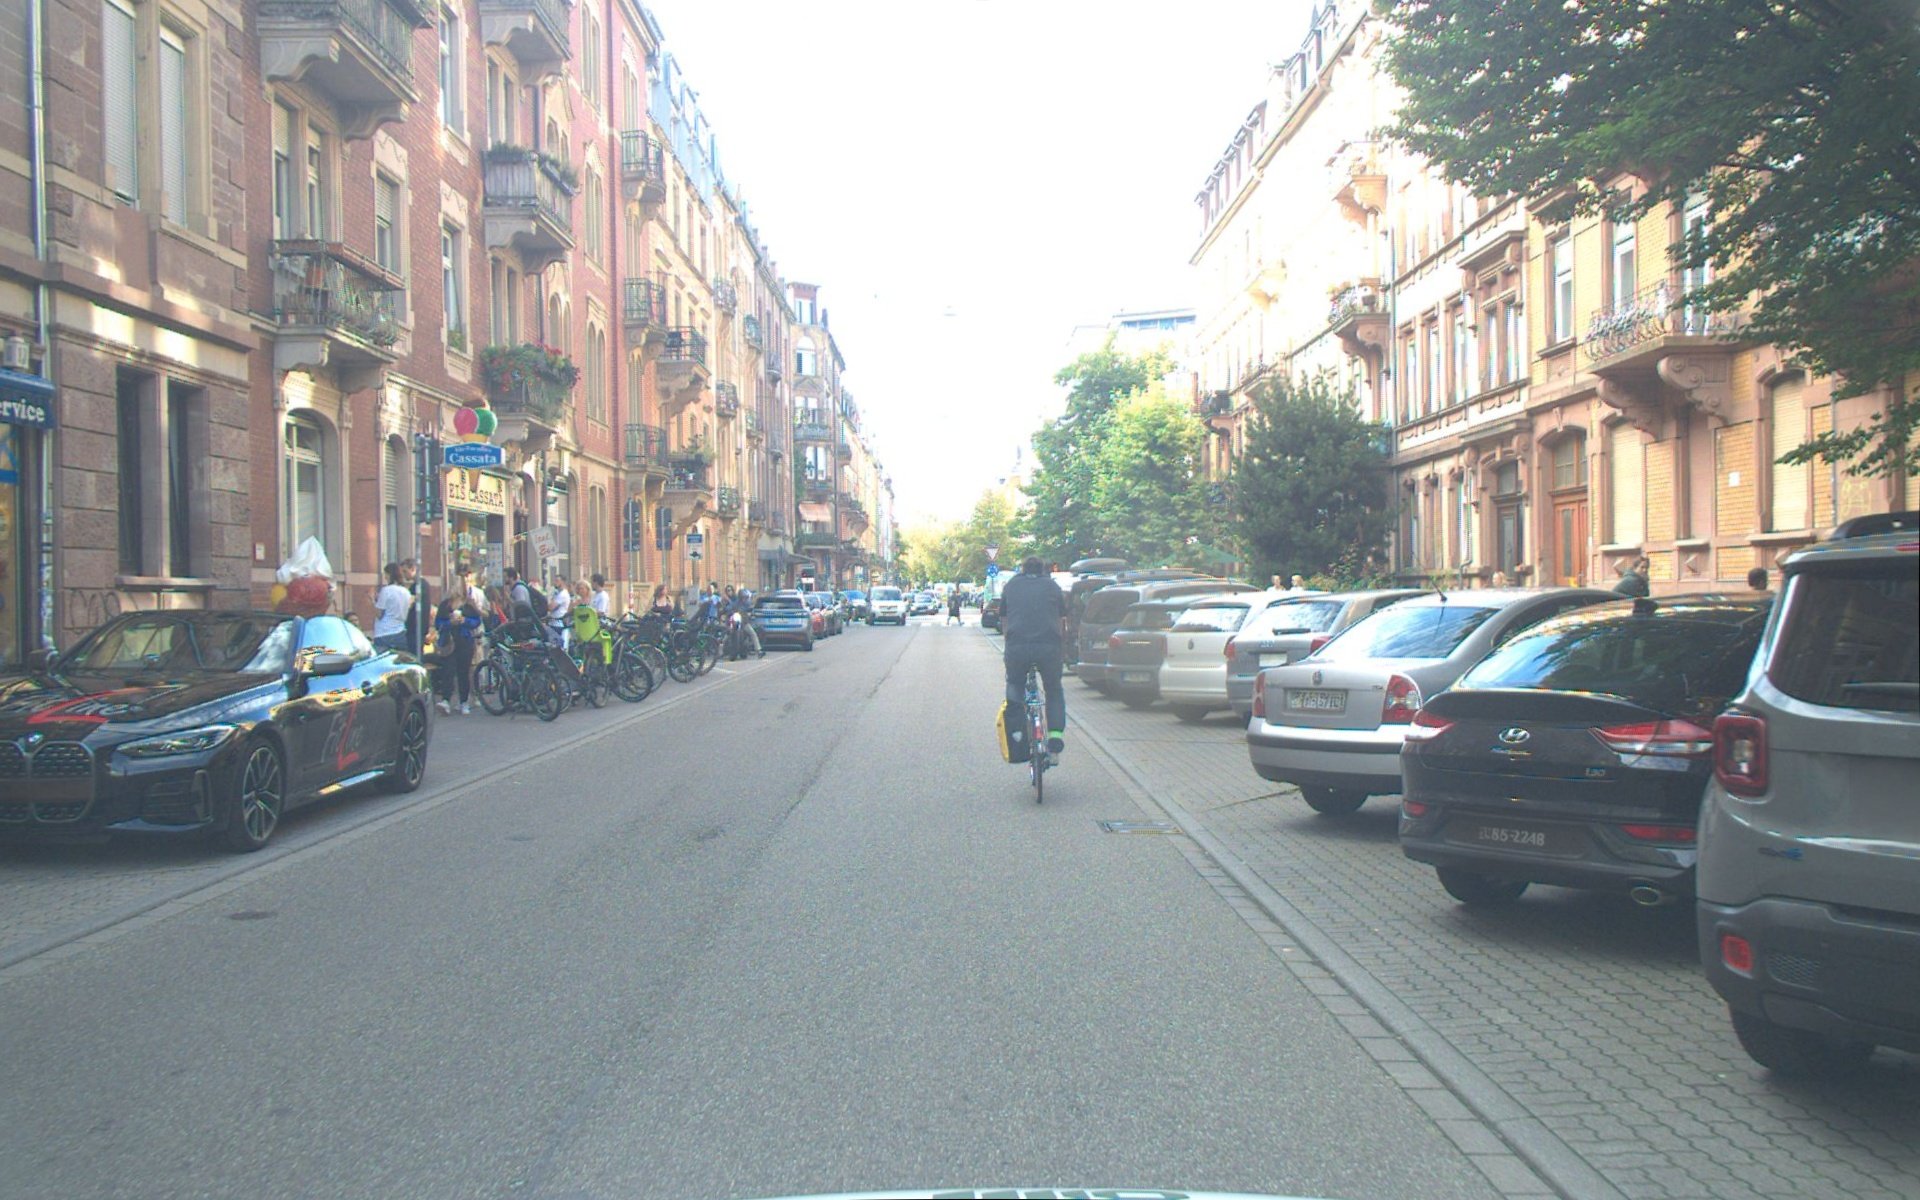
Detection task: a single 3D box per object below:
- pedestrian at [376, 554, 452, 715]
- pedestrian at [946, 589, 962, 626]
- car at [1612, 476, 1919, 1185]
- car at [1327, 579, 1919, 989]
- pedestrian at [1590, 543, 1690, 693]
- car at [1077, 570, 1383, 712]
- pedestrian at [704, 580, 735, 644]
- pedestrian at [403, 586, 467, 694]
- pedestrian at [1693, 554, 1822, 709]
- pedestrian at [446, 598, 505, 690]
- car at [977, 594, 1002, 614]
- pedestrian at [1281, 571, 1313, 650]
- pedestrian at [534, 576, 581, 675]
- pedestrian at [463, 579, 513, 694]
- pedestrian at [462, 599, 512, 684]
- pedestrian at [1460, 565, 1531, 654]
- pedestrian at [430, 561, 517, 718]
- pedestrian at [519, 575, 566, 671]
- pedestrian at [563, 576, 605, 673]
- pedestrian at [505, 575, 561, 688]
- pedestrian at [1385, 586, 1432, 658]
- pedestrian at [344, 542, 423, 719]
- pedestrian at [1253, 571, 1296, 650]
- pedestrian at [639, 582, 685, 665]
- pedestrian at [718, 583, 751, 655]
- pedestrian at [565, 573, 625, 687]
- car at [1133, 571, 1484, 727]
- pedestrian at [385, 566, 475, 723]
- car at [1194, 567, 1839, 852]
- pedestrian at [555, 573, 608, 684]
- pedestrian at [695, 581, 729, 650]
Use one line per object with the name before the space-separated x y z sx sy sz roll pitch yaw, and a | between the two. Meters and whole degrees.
pedestrian | -6.676 0.414 20.228 0.634 1.925 0.600 0 0 29
pedestrian | -0.295 0.354 80.499 0.615 1.769 0.776 -1 0 12
car | 3.980 0.514 5.117 3.955 1.728 1.829 -2 1 -36
car | 3.858 0.650 8.020 4.093 1.442 1.845 -2 1 -37
pedestrian | 7.787 0.204 18.981 0.716 1.662 0.833 -2 -1 -3
car | 3.673 0.500 22.204 3.960 1.575 1.844 -4 1 -38
pedestrian | -7.047 0.346 48.482 0.740 1.839 0.863 1 0 3
pedestrian | -7.402 0.559 23.349 0.591 1.495 0.726 0 0 10
pedestrian | 8.159 0.306 16.932 0.713 1.528 0.990 -1 1 -38
pedestrian | -7.211 0.648 24.631 0.709 1.336 0.606 0 0 -4
car | 2.348 0.306 132.536 1.952 1.512 4.000 -1 0 0
pedestrian | 7.326 0.227 36.010 0.561 1.688 0.632 0 0 0
pedestrian | -7.139 0.452 29.301 0.657 1.725 0.579 1 0 -31
pedestrian | -6.817 0.522 23.888 0.542 1.645 0.584 0 0 -1
pedestrian | -7.498 0.647 26.235 0.687 1.336 0.372 0 0 -5
pedestrian | 9.548 0.161 29.501 0.910 1.523 0.811 -2 0 -8
pedestrian | -5.854 0.460 19.903 0.746 1.850 0.664 0 0 29
pedestrian | -7.574 0.410 30.034 0.650 1.725 0.763 1 0 -1
pedestrian | -6.787 0.429 29.822 0.558 1.725 0.640 1 0 -31
pedestrian | -7.244 0.529 28.081 0.753 1.886 0.659 1 0 -32
pedestrian | 8.006 0.389 29.556 0.588 1.240 0.673 -3 0 -1
pedestrian | -6.813 0.348 19.556 0.630 2.049 0.629 0 0 27
pedestrian | 6.967 0.219 36.586 0.643 1.724 0.688 1 0 -44
pedestrian | -6.110 0.479 33.971 0.894 1.690 0.826 1 0 -9
pedestrian | -5.545 0.462 40.665 0.559 1.739 0.659 1 0 -35
pedestrian | -5.771 0.464 26.204 0.591 1.782 0.946 0 0 12
car | 4.156 0.542 19.548 3.951 1.476 1.716 -4 0 -33
pedestrian | -6.172 0.505 19.275 0.746 1.790 0.664 0 0 29
car | 3.950 0.613 11.445 4.555 1.477 1.773 -3 1 -33
pedestrian | -6.197 0.457 27.108 0.591 1.782 0.726 0 0 10
pedestrian | -6.124 0.380 40.788 0.672 1.690 0.545 1 0 -31
